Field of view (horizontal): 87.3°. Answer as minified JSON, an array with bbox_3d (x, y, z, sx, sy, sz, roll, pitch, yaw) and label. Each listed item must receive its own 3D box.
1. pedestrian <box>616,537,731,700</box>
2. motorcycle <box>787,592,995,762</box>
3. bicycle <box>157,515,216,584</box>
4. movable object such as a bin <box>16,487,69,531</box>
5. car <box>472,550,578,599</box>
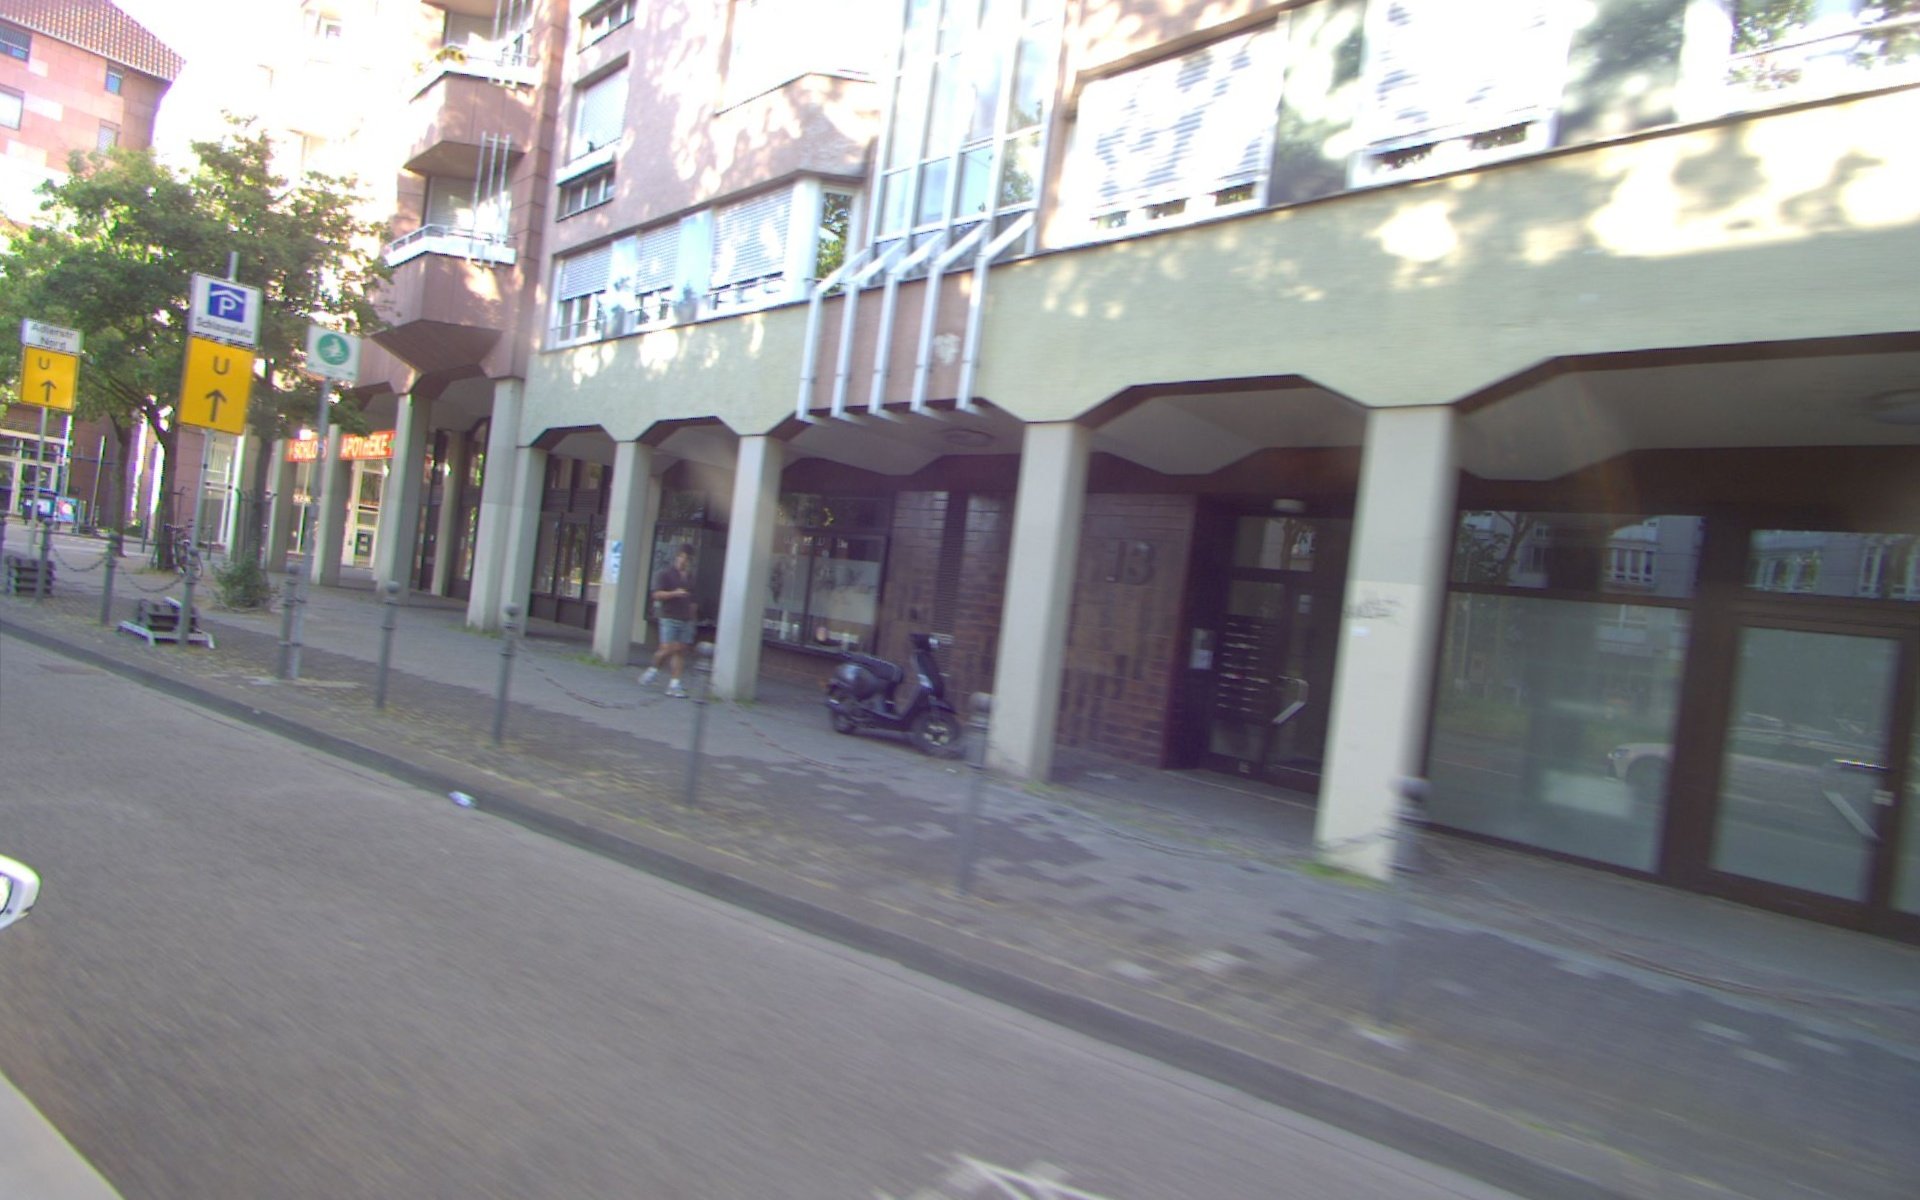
[{"bbox_3d":[-3.339,0.216,11.738,0.825,1.759,0.780,7,0,41],"label":"pedestrian"},{"bbox_3d":[-0.733,0.732,10.134,2.056,1.389,0.489,7,0,33],"label":"motorcycle"},{"bbox_3d":[-15.891,-1.049,20.647,0.620,1.240,1.902,7,0,-45],"label":"bicycle"},{"bbox_3d":[-36.620,-3.630,40.176,0.860,1.500,1.407,7,0,44],"label":"movable object such as a bin"},{"bbox_3d":[-20.699,-1.188,48.008,1.776,1.742,4.181,7,-1,41],"label":"car"}]
